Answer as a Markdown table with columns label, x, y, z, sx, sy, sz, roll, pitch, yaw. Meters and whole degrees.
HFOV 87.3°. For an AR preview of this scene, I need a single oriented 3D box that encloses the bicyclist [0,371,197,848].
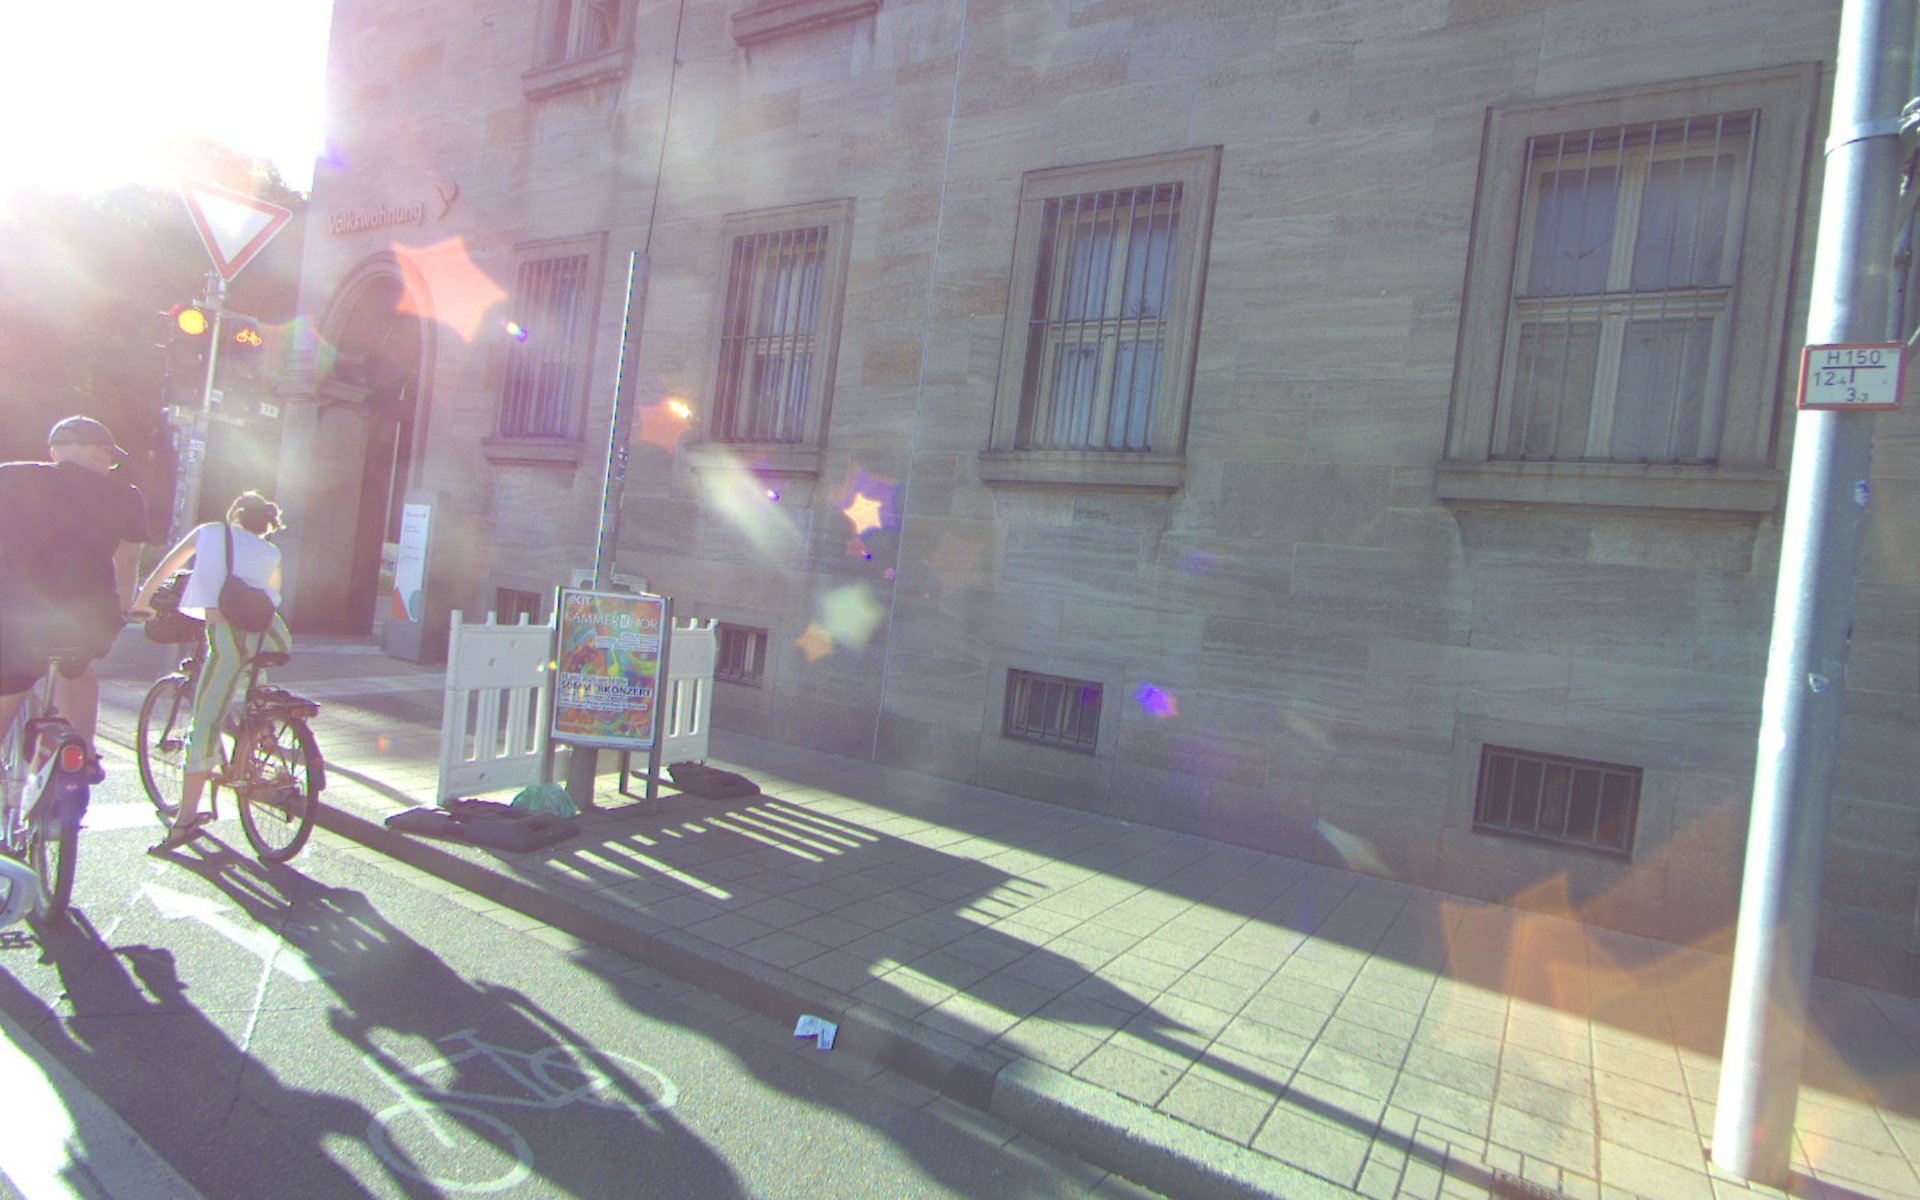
| label | x | y | z | sx | sy | sz | roll | pitch | yaw |
| --- | --- | --- | --- | --- | --- | --- | --- | --- | --- |
| bicyclist | -3.557 | 0.036 | 3.917 | 0.647 | 1.698 | 0.669 | 7 | 1 | 40 |

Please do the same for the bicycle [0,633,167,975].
| label | x | y | z | sx | sy | sz | roll | pitch | yaw |
| --- | --- | --- | --- | --- | --- | --- | --- | --- | --- |
| bicycle | -3.684 | 0.695 | 4.013 | 1.923 | 0.916 | 0.388 | 7 | 0 | 41 |

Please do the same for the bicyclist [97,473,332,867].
| label | x | y | z | sx | sy | sz | roll | pitch | yaw |
| --- | --- | --- | --- | --- | --- | --- | --- | --- | --- |
| bicyclist | -3.576 | 0.296 | 4.821 | 0.845 | 1.700 | 0.522 | 7 | 1 | 35 |

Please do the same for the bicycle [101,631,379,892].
| label | x | y | z | sx | sy | sz | roll | pitch | yaw |
| --- | --- | --- | --- | --- | --- | --- | --- | --- | --- |
| bicycle | -3.601 | 0.715 | 4.959 | 1.920 | 0.887 | 0.427 | 7 | 0 | 35 |
